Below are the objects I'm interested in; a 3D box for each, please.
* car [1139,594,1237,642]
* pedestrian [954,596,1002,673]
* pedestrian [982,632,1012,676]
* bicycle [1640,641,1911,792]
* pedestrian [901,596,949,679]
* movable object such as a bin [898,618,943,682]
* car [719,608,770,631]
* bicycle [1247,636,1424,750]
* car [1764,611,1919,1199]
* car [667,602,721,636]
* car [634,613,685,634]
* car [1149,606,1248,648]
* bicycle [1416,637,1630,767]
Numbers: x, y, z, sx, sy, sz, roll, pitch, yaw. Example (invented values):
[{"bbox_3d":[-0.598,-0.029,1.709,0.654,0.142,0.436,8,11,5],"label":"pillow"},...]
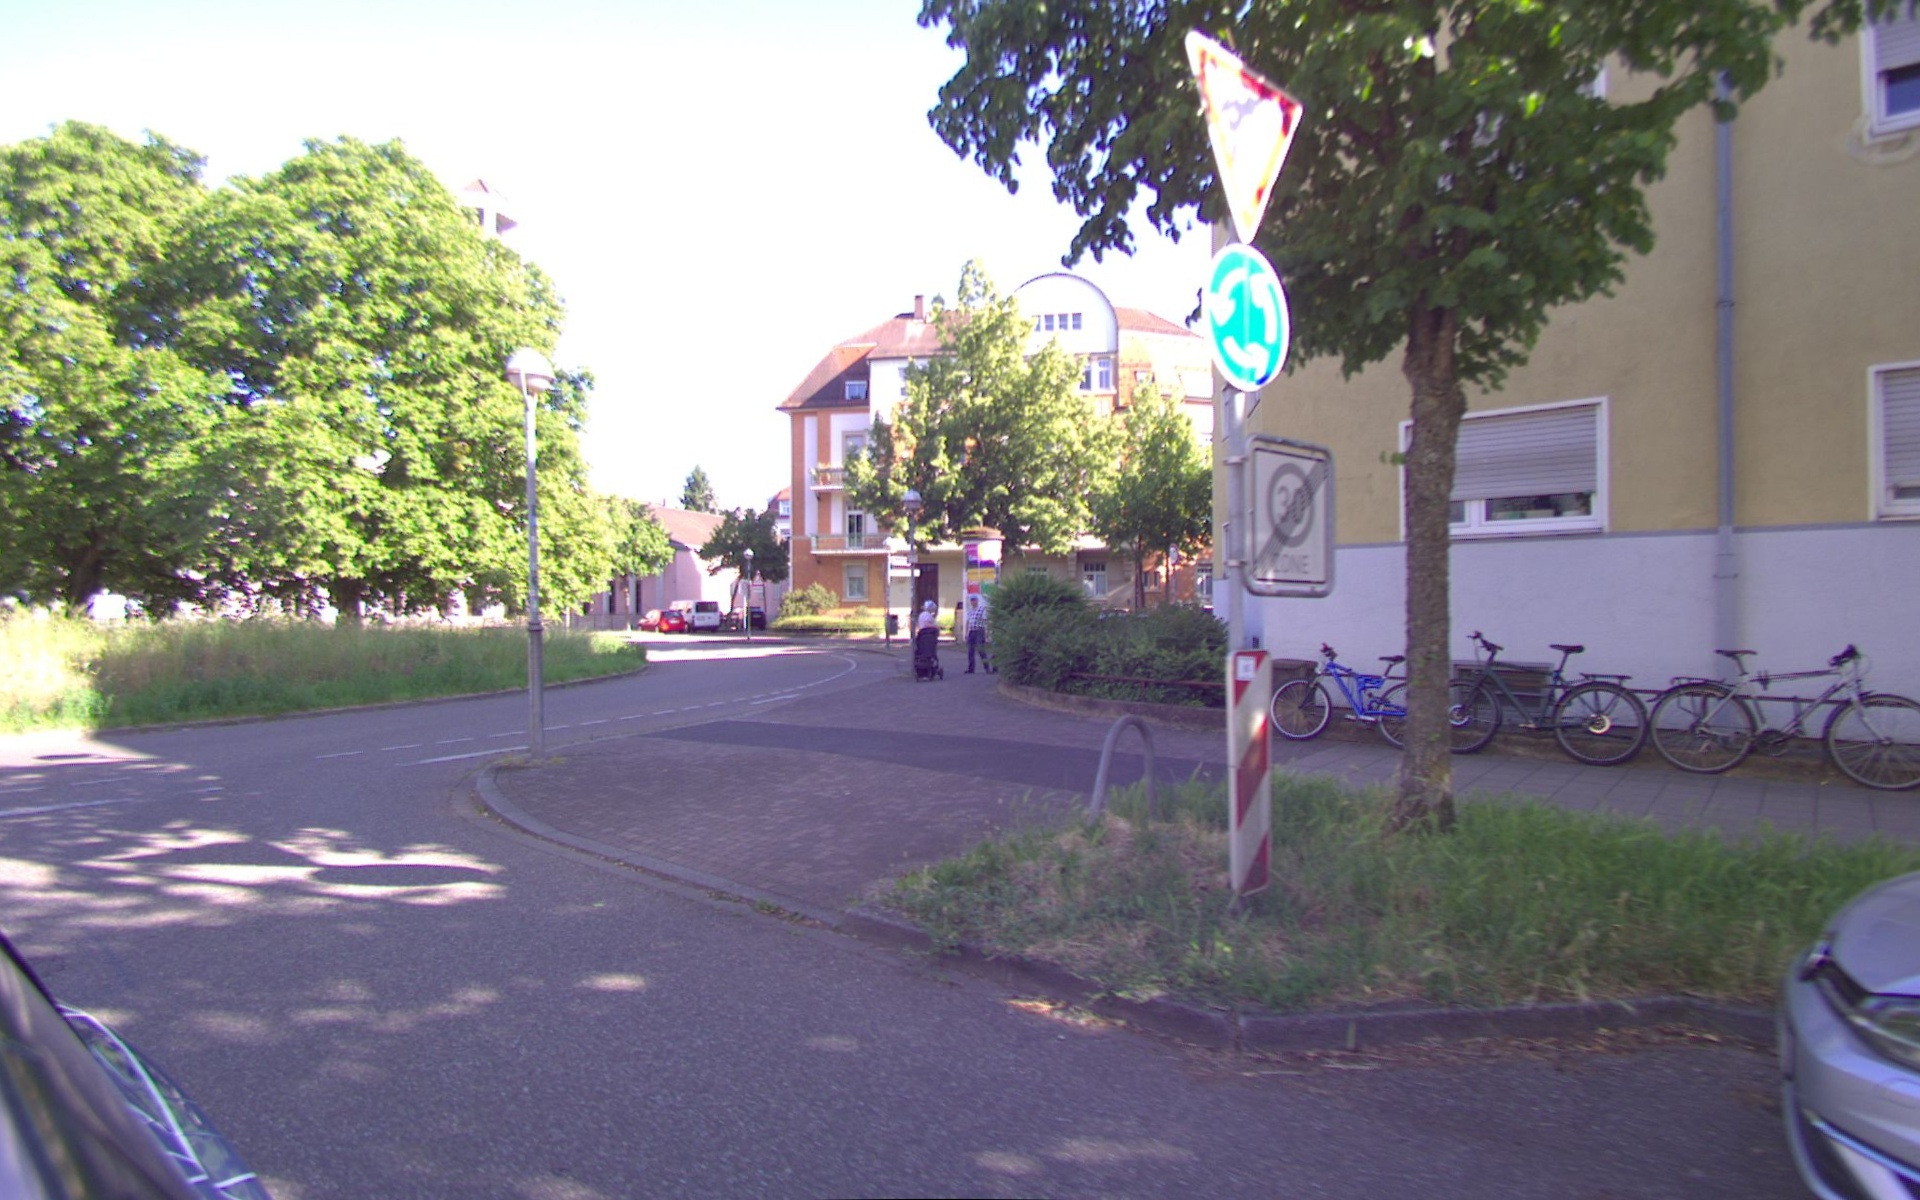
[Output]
[{"bbox_3d":[9.390,0.742,41.930,1.965,1.895,4.013,0,-1,-23],"label":"car"},{"bbox_3d":[0.391,0.741,21.908,0.746,1.627,0.748,-1,-1,41],"label":"pedestrian"},{"bbox_3d":[0.785,1.129,21.288,0.424,0.882,0.456,0,-1,-41],"label":"pedestrian"},{"bbox_3d":[6.103,0.827,7.648,1.544,1.008,0.448,-1,-1,42],"label":"bicycle"},{"bbox_3d":[-0.707,0.735,20.333,0.665,1.627,0.687,-1,-1,43],"label":"pedestrian"},{"bbox_3d":[-0.759,0.945,19.530,0.759,1.205,0.843,-1,-1,5],"label":"movable object such as a bin"},{"bbox_3d":[-14.482,1.300,67.808,1.716,1.491,4.007,0,-1,-40],"label":"car"},{"bbox_3d":[3.636,0.869,9.877,1.544,1.008,0.471,-1,-1,42],"label":"bicycle"},{"bbox_3d":[3.680,0.733,1.374,3.988,1.453,1.743,-1,-1,38],"label":"car"},{"bbox_3d":[-16.334,1.164,62.067,1.967,2.029,4.010,0,-1,-34],"label":"car"},{"bbox_3d":[-17.761,1.354,59.700,1.739,1.187,4.010,0,-1,-34],"label":"car"},{"bbox_3d":[8.601,0.954,36.882,1.680,1.435,4.269,0,-1,-14],"label":"car"},{"bbox_3d":[4.835,0.840,8.754,1.544,1.008,0.470,-1,-1,42],"label":"bicycle"}]
